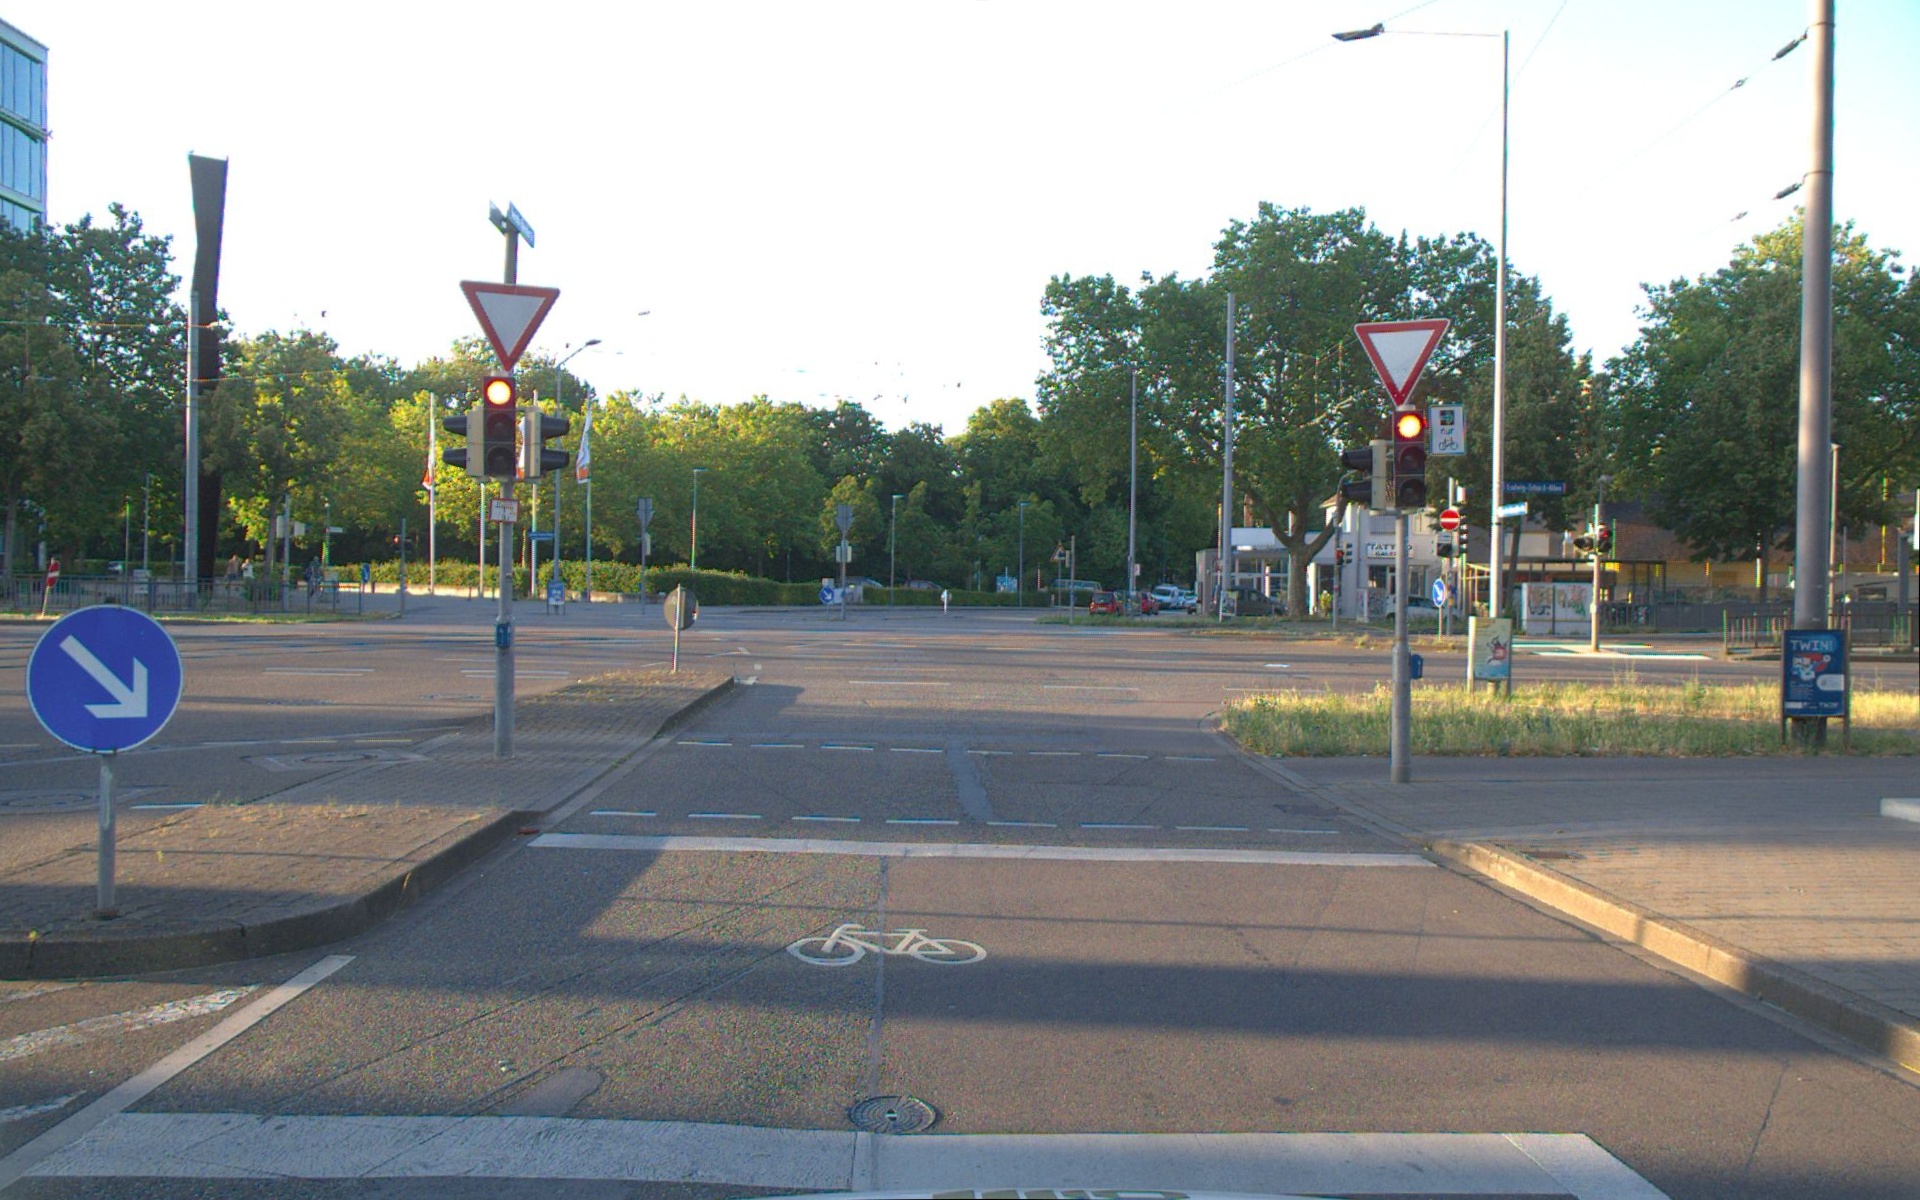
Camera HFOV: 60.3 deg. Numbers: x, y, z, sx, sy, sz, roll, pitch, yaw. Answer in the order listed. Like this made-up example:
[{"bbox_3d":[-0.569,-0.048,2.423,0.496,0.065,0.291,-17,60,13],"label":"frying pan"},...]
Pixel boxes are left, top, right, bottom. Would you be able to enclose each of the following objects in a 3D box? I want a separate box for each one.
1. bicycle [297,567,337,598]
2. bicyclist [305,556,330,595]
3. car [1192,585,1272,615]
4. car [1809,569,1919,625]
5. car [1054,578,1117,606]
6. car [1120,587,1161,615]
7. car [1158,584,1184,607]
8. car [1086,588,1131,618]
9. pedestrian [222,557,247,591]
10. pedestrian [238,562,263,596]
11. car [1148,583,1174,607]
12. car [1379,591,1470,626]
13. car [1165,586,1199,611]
[{"bbox_3d":[-28.746,-0.781,73.900,0.726,1.364,2.648,0,1,-43],"label":"bicycle"},{"bbox_3d":[-28.649,-1.099,73.766,0.905,1.739,0.748,1,0,45],"label":"bicyclist"},{"bbox_3d":[14.666,0.012,89.379,4.129,1.579,2.001,1,-1,7],"label":"car"},{"bbox_3d":[43.706,-0.147,78.660,5.476,2.596,2.231,1,0,7],"label":"car"},{"bbox_3d":[9.522,-0.607,126.017,4.675,2.041,2.000,1,-1,1],"label":"car"},{"bbox_3d":[11.332,0.080,103.533,1.951,1.691,4.003,0,-1,14],"label":"car"},{"bbox_3d":[17.421,-0.371,136.343,1.823,1.825,4.003,0,-1,12],"label":"car"},{"bbox_3d":[8.634,0.207,95.803,1.951,1.691,4.003,0,-1,14],"label":"car"},{"bbox_3d":[-38.034,-1.347,86.690,0.843,1.774,0.829,1,0,26],"label":"pedestrian"},{"bbox_3d":[-37.527,-1.088,87.481,0.844,1.774,0.829,1,0,30],"label":"pedestrian"},{"bbox_3d":[16.012,-0.381,131.427,1.823,1.825,4.003,1,-1,10],"label":"car"},{"bbox_3d":[20.352,0.375,72.568,3.659,1.465,1.665,1,-1,9],"label":"car"},{"bbox_3d":[15.568,-0.080,115.825,1.951,1.691,4.003,0,-1,14],"label":"car"}]
